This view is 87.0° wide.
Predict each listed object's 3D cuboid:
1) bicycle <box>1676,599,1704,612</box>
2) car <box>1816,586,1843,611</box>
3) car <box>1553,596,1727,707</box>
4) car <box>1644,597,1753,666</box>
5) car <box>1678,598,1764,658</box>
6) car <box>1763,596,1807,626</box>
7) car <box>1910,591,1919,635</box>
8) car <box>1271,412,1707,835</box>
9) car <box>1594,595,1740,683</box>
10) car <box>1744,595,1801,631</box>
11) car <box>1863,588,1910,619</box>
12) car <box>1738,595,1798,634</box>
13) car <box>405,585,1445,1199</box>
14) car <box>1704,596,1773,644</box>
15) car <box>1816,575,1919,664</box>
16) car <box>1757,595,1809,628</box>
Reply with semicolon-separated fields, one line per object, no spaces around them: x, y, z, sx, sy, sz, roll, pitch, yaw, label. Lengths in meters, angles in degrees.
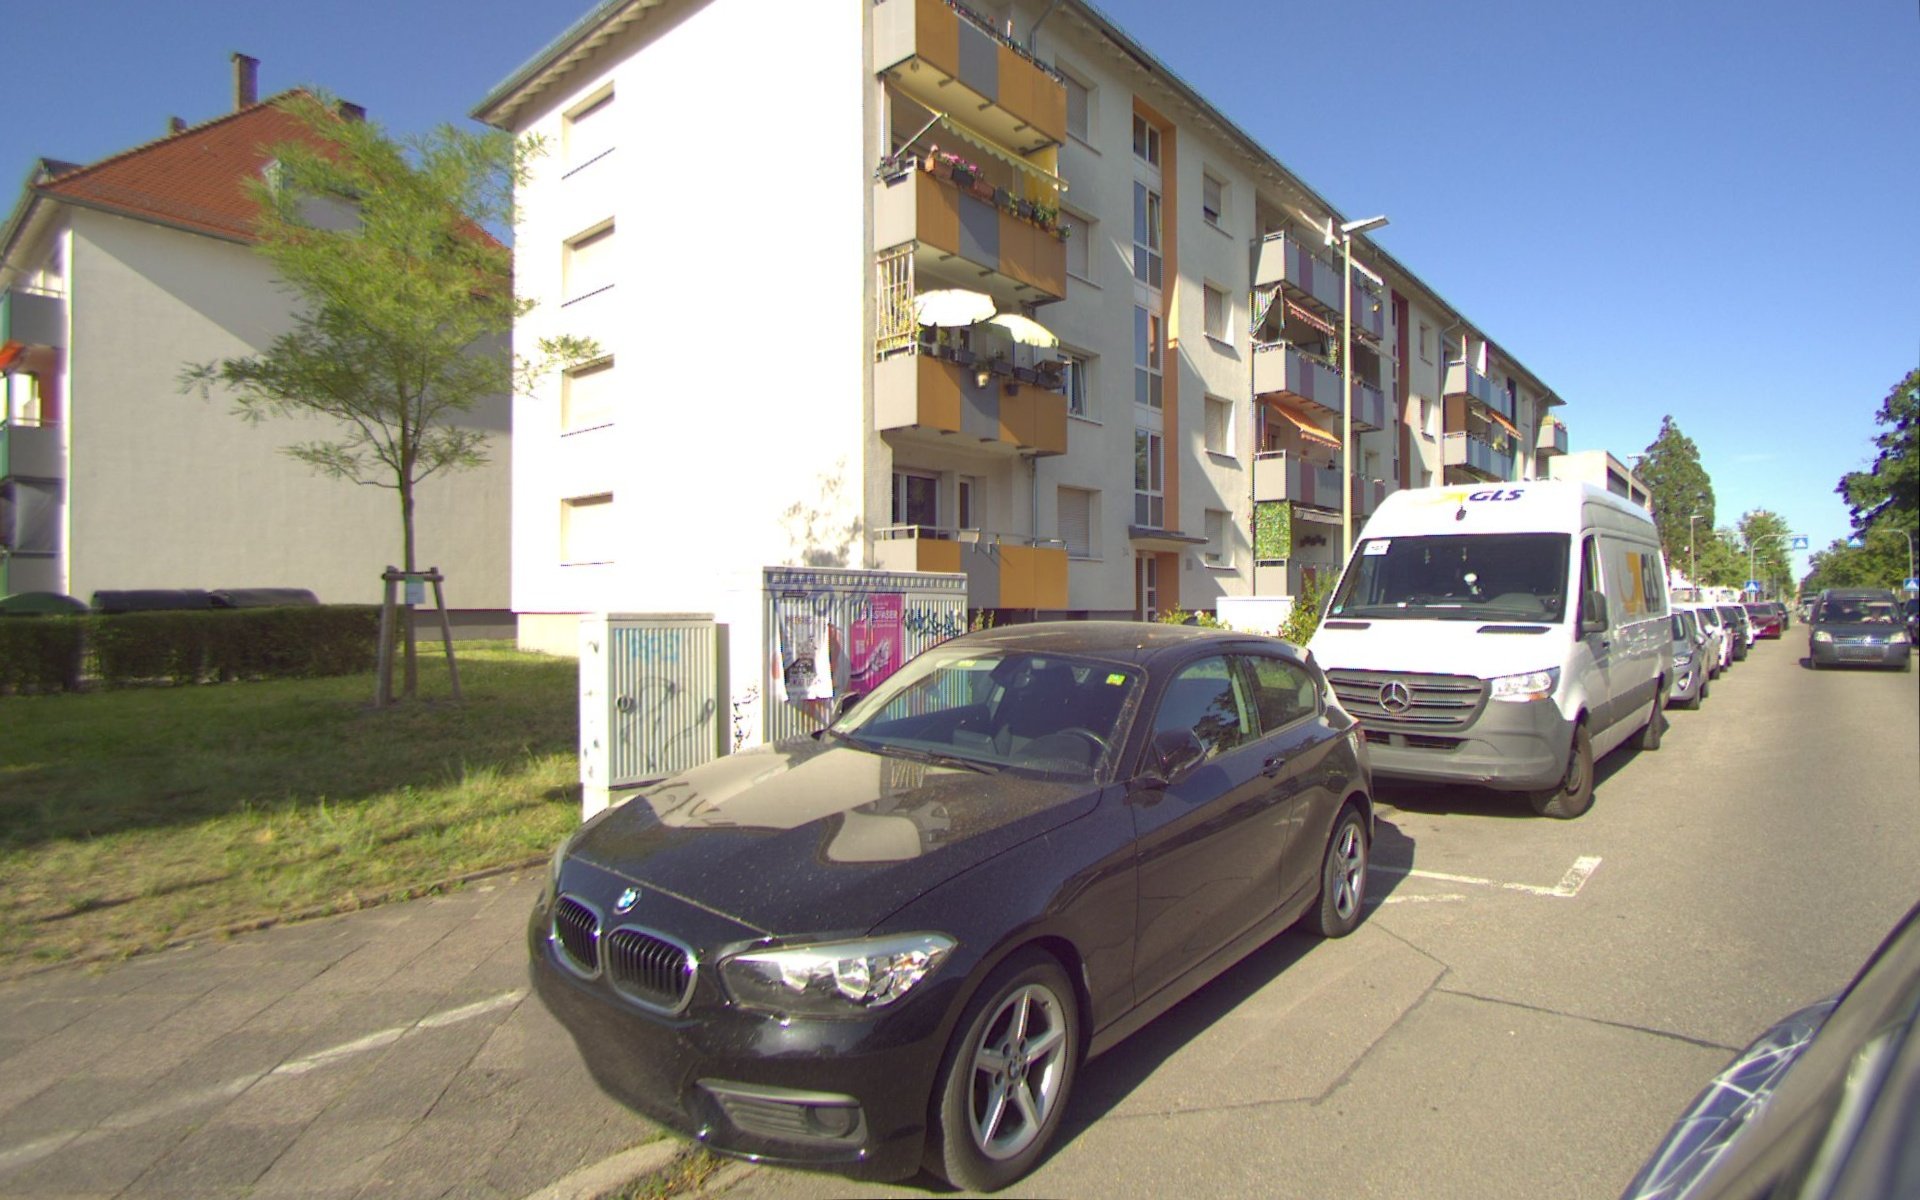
66.271;0.498;91.893;2.023;1.076;0.870;3;2;41;bicycle
92.332;-0.133;107.411;2.067;2.631;6.108;-1;-1;42;car
10.663;0.711;15.748;1.845;1.485;4.142;-2;-1;39;car
17.068;0.657;23.319;1.719;1.454;4.091;0;0;41;car
20.607;0.685;27.330;1.697;1.453;4.408;1;1;39;car
43.967;0.578;53.921;1.656;1.493;3.737;-3;-2;41;car
38.254;0.486;39.169;2.025;1.646;4.685;1;1;42;car
5.521;0.125;9.823;2.141;2.747;6.737;1;1;42;car
13.575;0.658;19.338;1.876;1.494;4.078;0;0;41;car
36.913;0.548;46.075;1.869;1.553;4.433;-1;0;37;car
58.640;0.211;64.020;2.017;1.902;4.664;-1;-1;44;car
33.423;0.559;41.807;1.840;1.491;4.992;-1;0;40;car
0.400;0.718;4.282;1.956;1.500;4.434;1;1;40;car
25.997;0.629;33.850;1.744;1.518;3.809;0;0;37;car
20.338;0.407;22.531;1.895;1.813;4.096;-1;-1;40;car
40.504;0.546;49.778;1.768;1.549;4.488;-1;0;42;car
